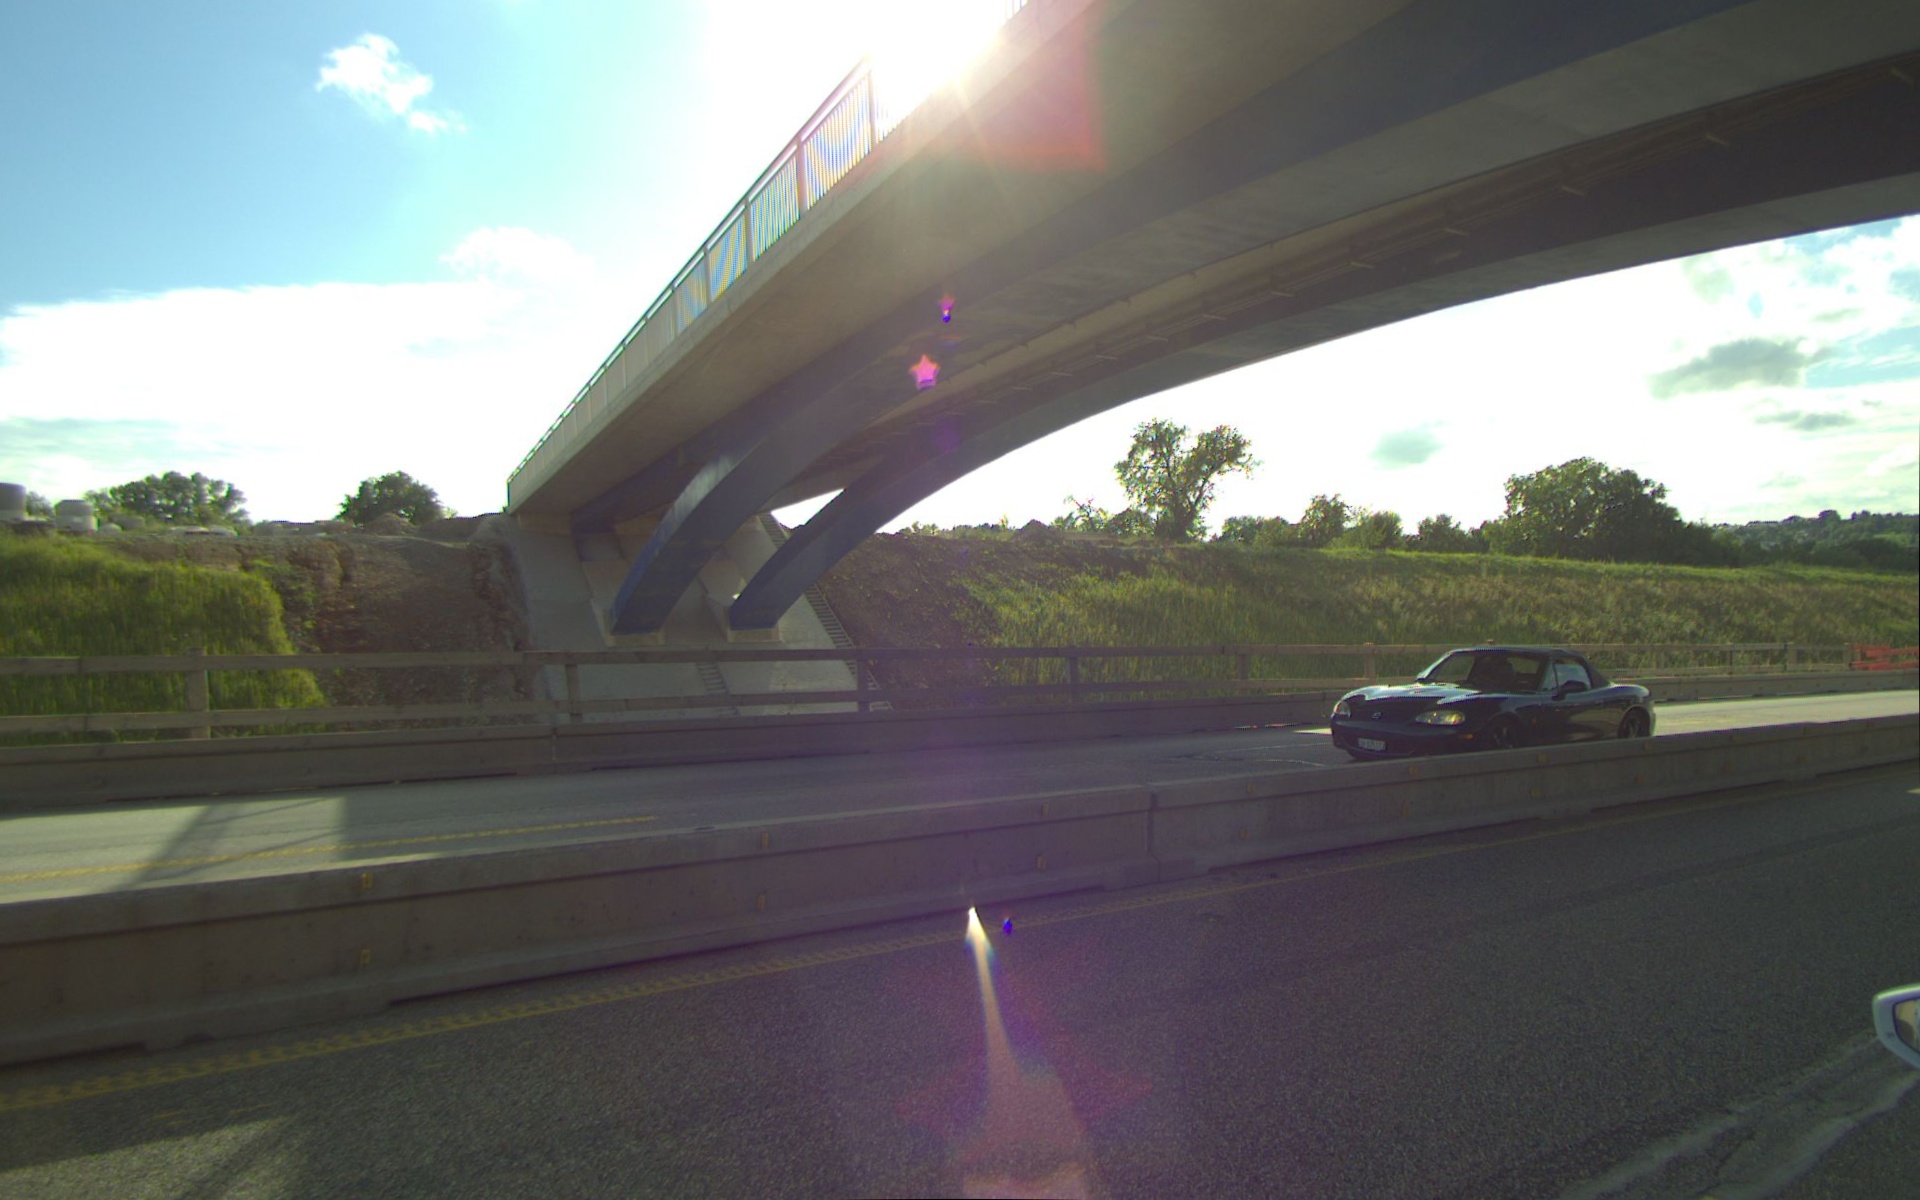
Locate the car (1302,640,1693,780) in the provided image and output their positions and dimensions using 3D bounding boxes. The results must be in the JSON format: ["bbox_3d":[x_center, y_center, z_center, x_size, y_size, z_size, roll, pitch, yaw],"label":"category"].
[{"bbox_3d":[5.642,1.030,10.424,4.169,1.170,1.661,1,-3,-31],"label":"car"}]
